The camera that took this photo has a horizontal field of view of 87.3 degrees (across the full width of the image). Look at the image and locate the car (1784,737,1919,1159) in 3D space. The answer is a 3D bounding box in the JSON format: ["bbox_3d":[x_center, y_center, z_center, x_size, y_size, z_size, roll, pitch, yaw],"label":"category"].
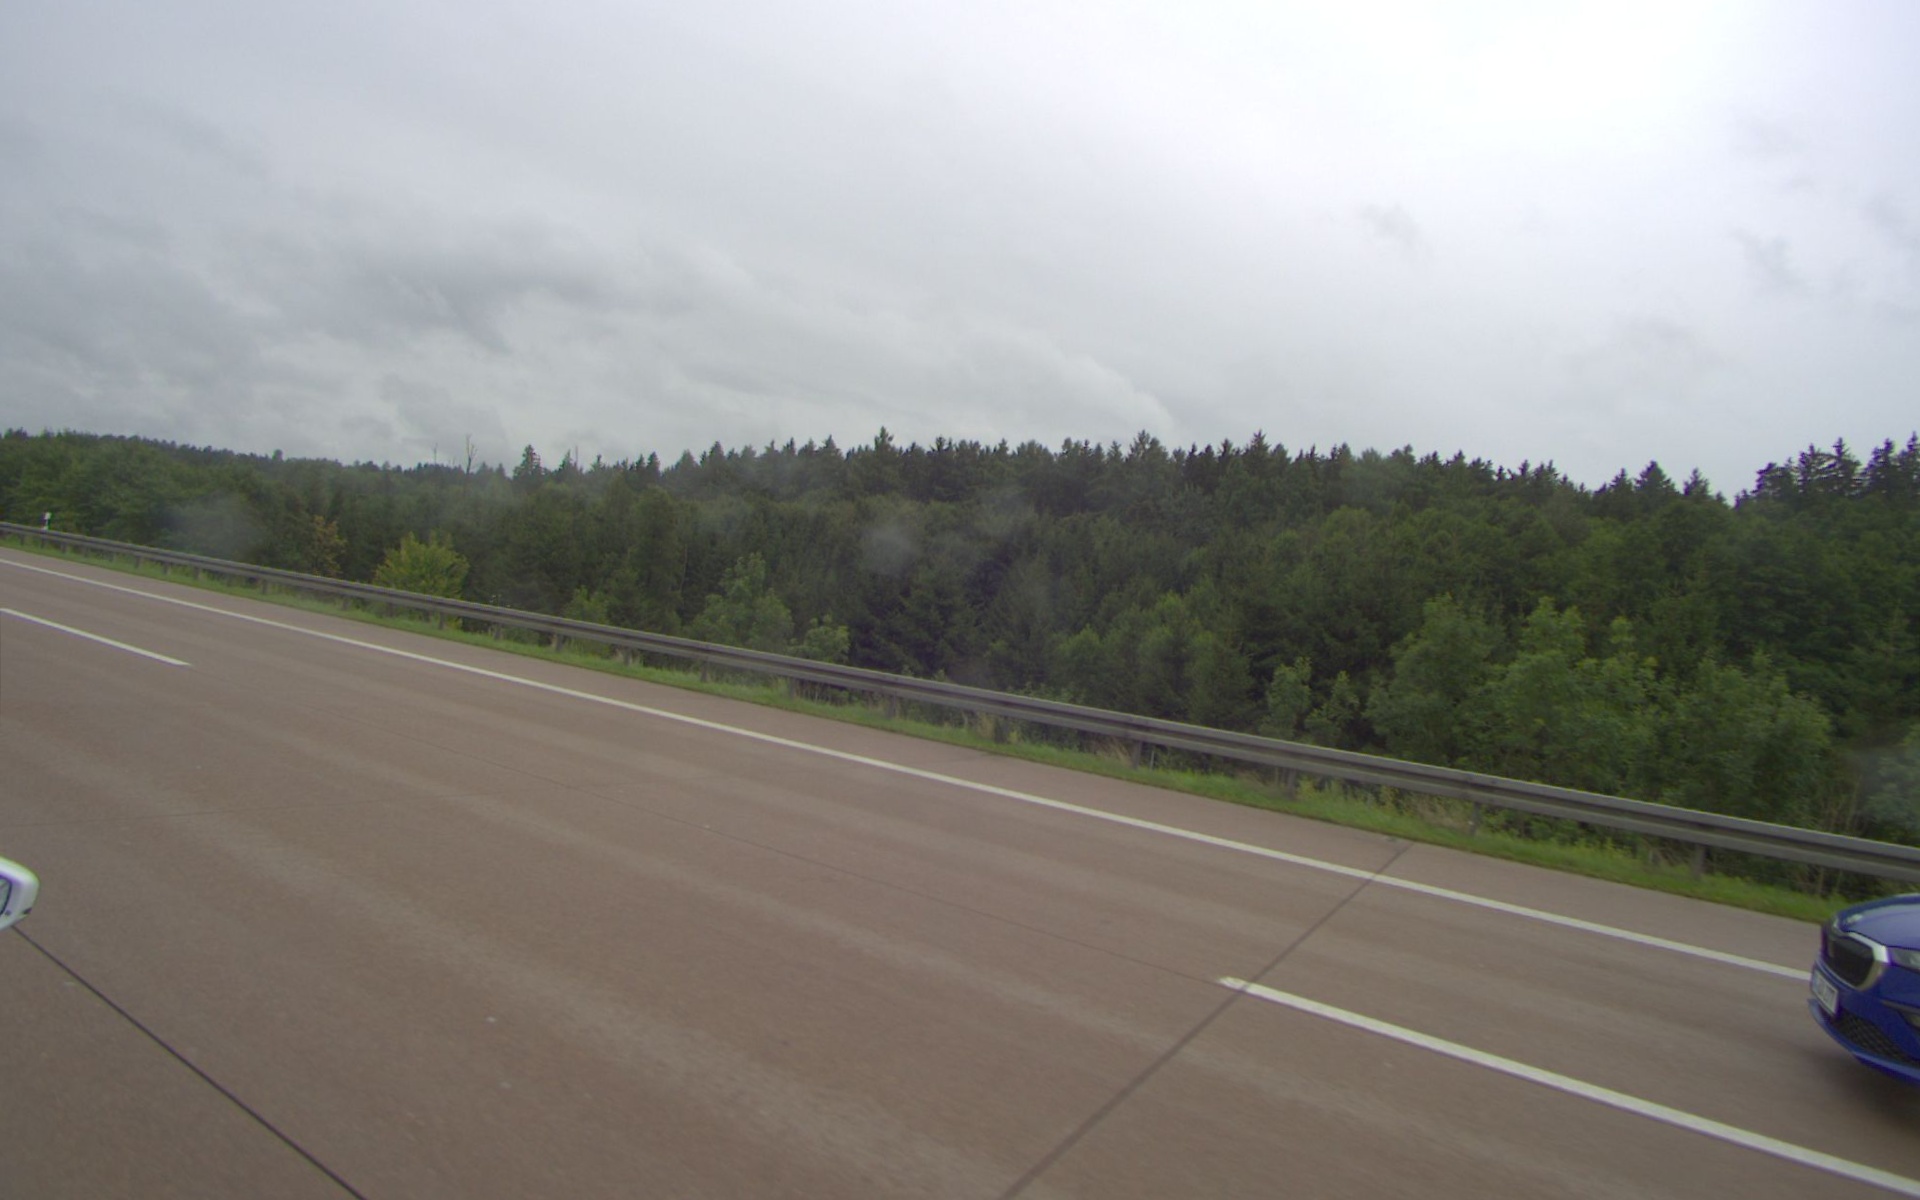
[{"bbox_3d":[5.846,1.596,3.639,4.077,1.581,1.775,5,-3,31],"label":"car"}]
